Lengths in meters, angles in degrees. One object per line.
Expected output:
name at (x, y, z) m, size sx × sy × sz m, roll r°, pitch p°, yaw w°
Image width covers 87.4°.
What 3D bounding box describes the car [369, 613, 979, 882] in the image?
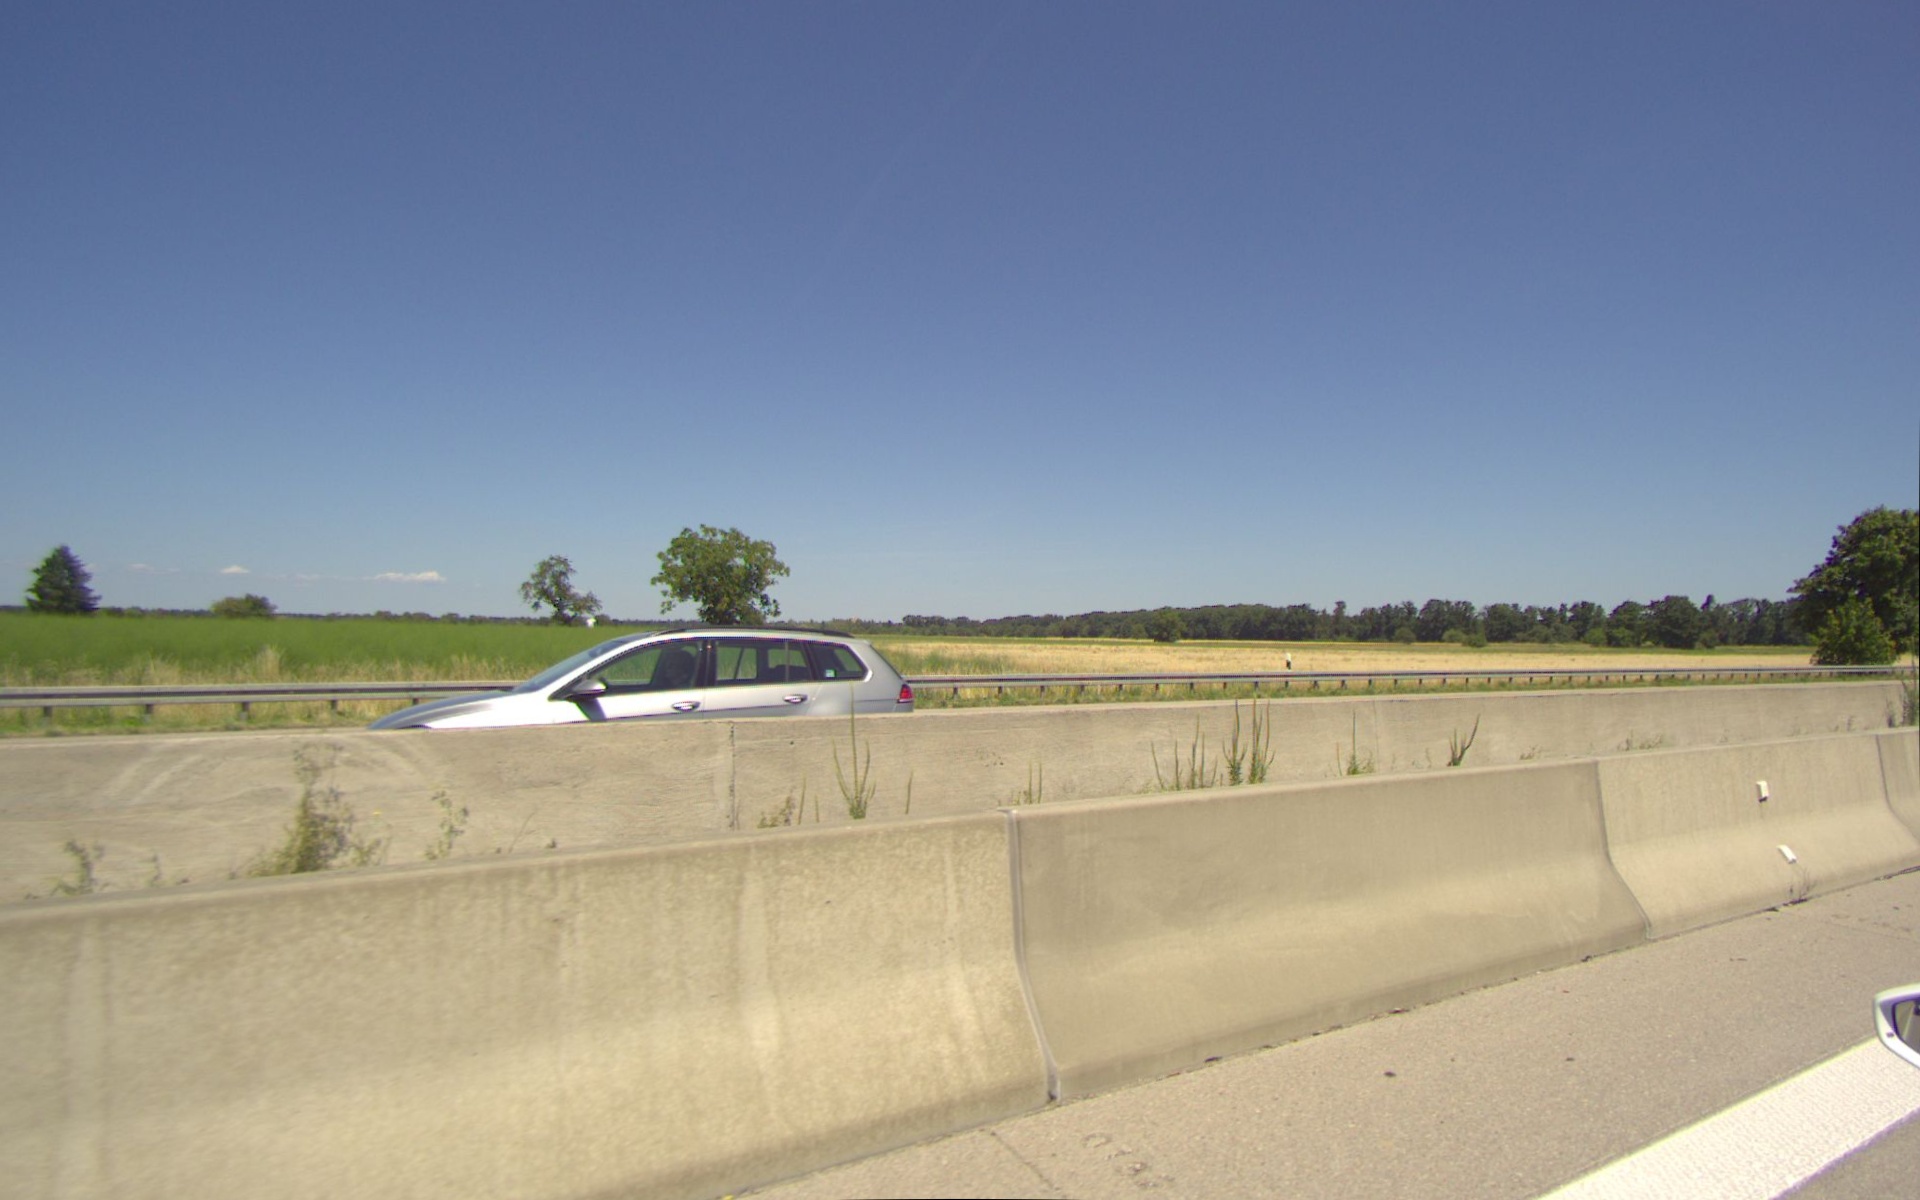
car at (-2.302, 1.032, 8.543) m, size 4.628 × 1.717 × 1.873 m, roll 2°, pitch 0°, yaw -30°
